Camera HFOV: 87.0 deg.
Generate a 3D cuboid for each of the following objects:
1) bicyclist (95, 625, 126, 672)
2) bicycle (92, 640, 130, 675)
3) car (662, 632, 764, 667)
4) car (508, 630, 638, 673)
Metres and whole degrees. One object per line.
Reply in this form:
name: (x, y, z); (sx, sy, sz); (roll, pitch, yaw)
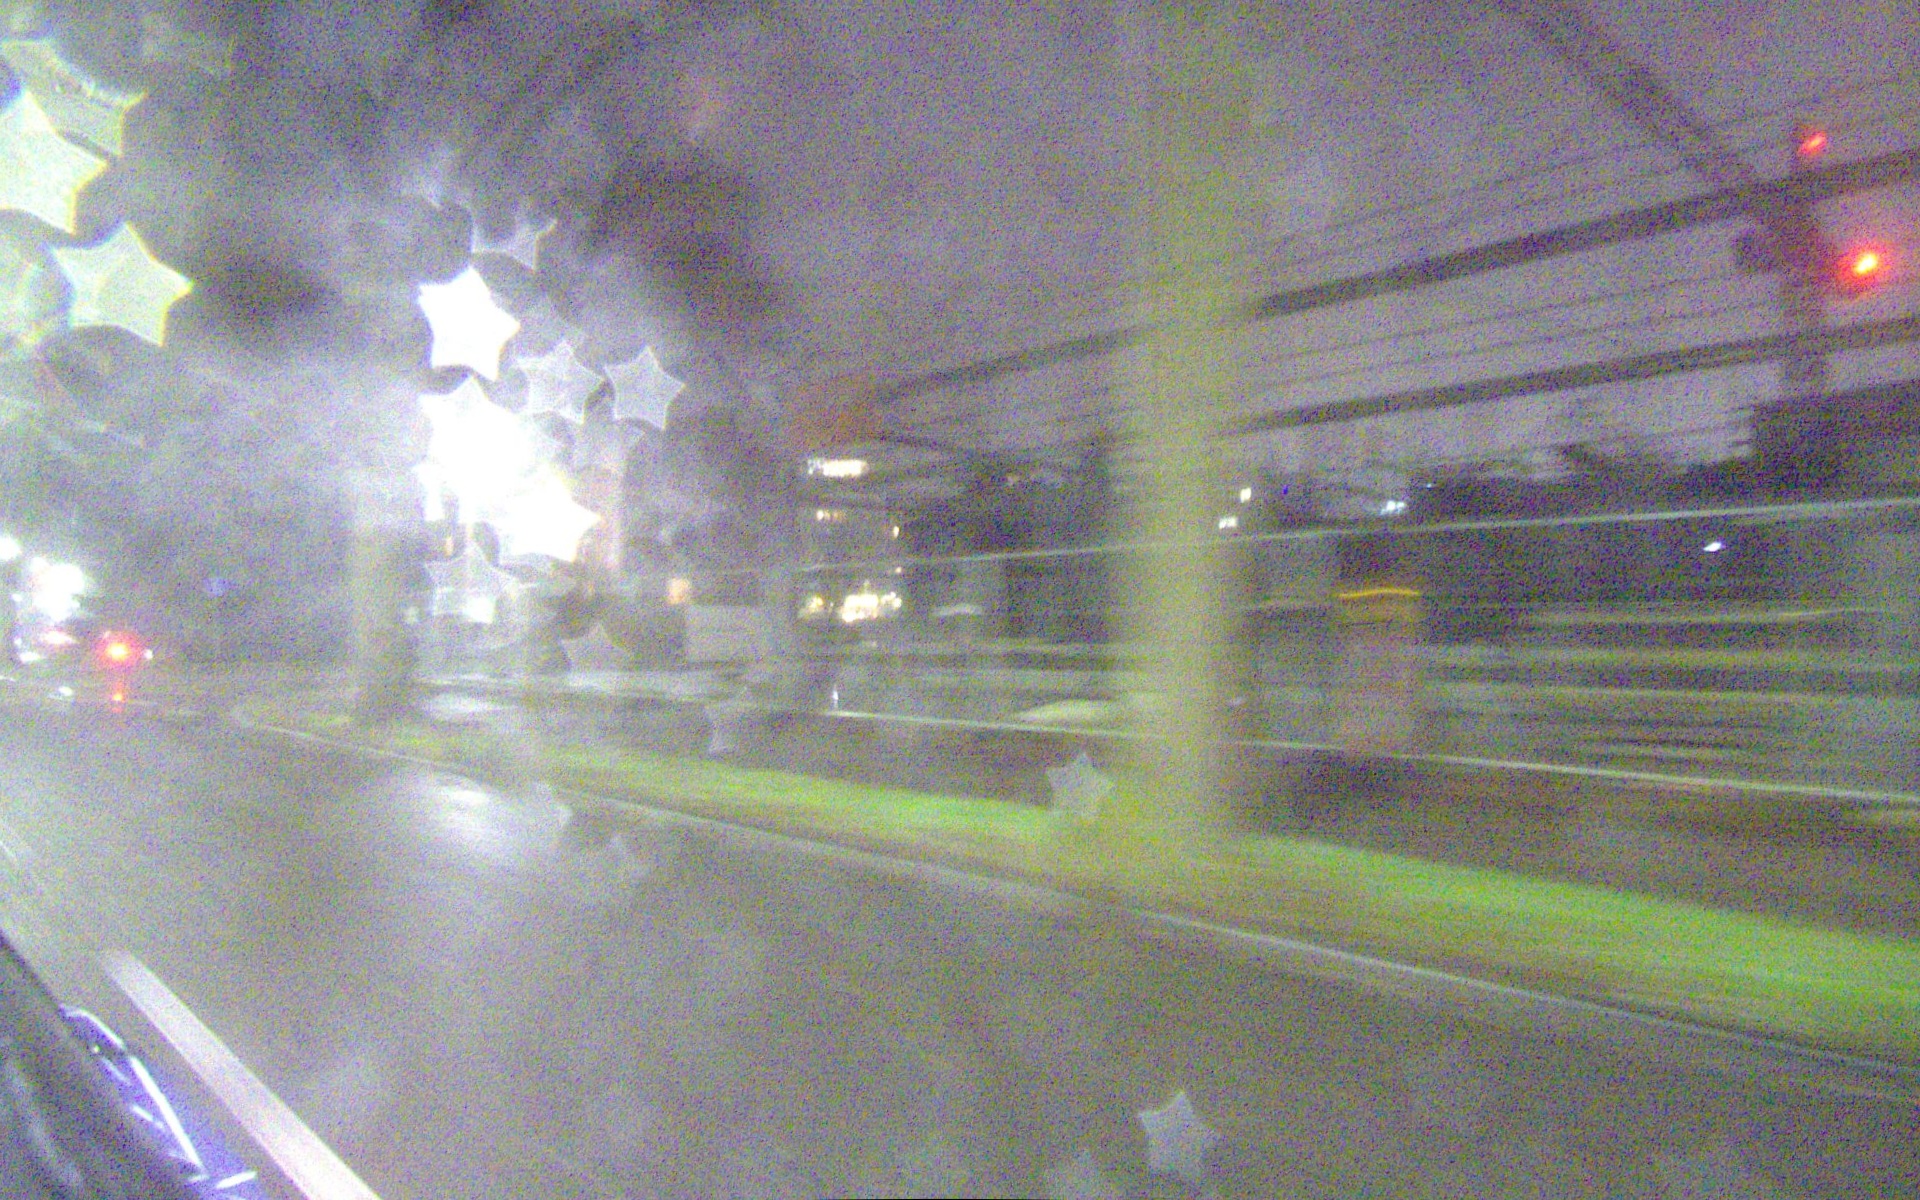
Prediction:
bicyclist: (-29.924, 1.712, 35.651); (0.959, 1.607, 0.630); (-6, -3, 40)
bicycle: (-30.050, 2.023, 35.812); (2.312, 1.169, 0.623); (-1, 0, 40)
car: (-9.891, 1.951, 40.669); (1.494, 1.268, 3.814); (2, 0, 41)
car: (-13.736, 1.792, 36.041); (4.028, 1.381, 1.495); (2, 1, -44)
